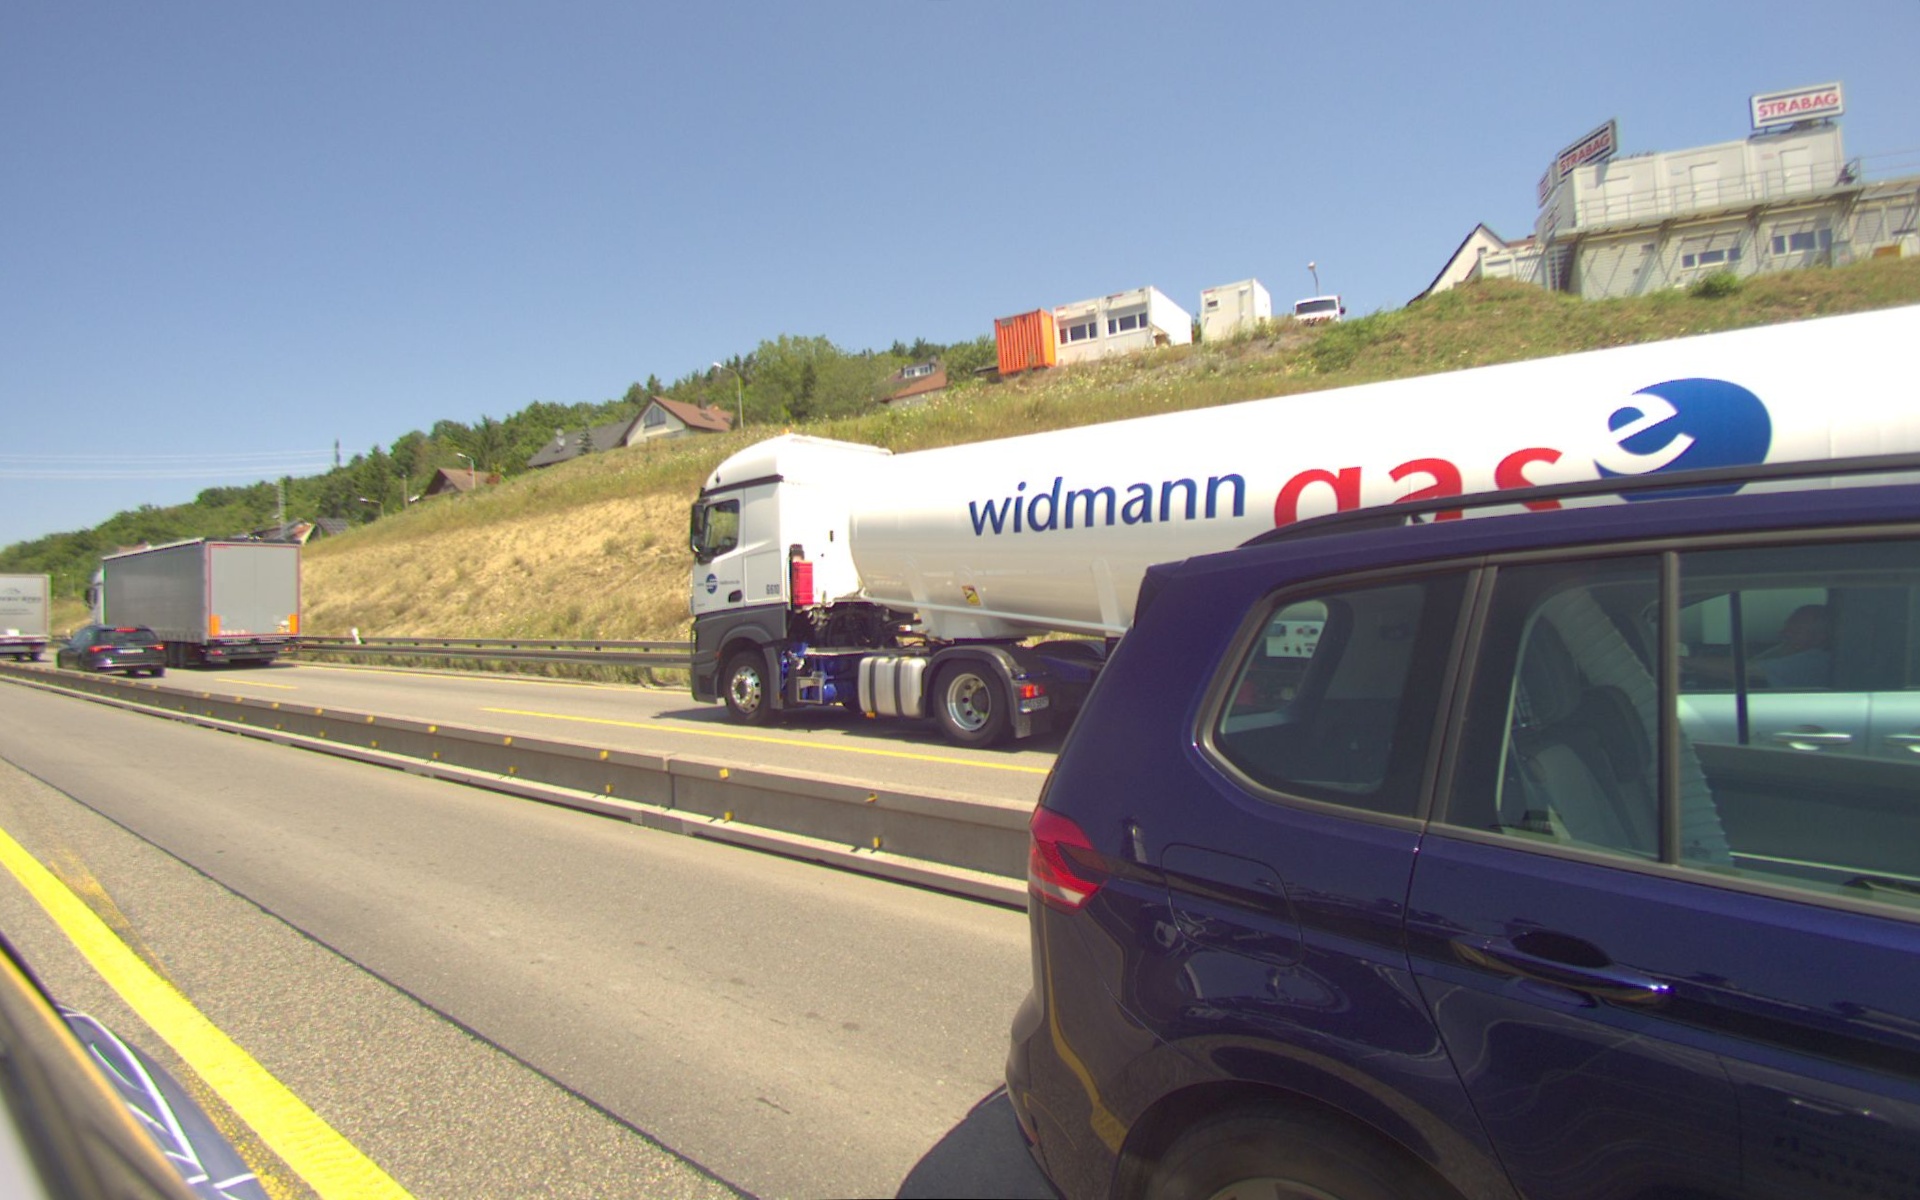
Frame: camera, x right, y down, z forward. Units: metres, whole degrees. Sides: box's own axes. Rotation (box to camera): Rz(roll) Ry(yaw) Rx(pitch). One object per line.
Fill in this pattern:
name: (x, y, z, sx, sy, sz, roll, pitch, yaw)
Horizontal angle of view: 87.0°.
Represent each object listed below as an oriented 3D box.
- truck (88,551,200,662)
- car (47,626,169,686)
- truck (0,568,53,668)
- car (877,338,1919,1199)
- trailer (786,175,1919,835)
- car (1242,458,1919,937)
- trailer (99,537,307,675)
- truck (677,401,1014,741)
truck: (-31.951, 0.266, 39.618, 3.951, 4.080, 2.671, -2, -1, 40)
car: (-23.590, 1.478, 27.966, 4.716, 1.469, 1.762, -1, 0, 40)
truck: (-39.012, 0.756, 41.035, 7.356, 3.787, 2.562, -2, -1, 42)
car: (2.197, 0.560, 1.107, 4.648, 1.731, 1.758, -3, -2, 40)
trailer: (3.265, -0.457, 9.525, 11.908, 3.830, 2.564, -2, -1, 40)
car: (3.824, 0.374, 4.682, 4.480, 1.758, 1.860, -2, -2, 41)
trailer: (-26.646, 0.330, 35.155, 13.690, 4.055, 2.671, -2, -1, 40)
truck: (-1.580, -0.296, 13.625, 3.764, 3.830, 2.564, -2, -1, 40)
